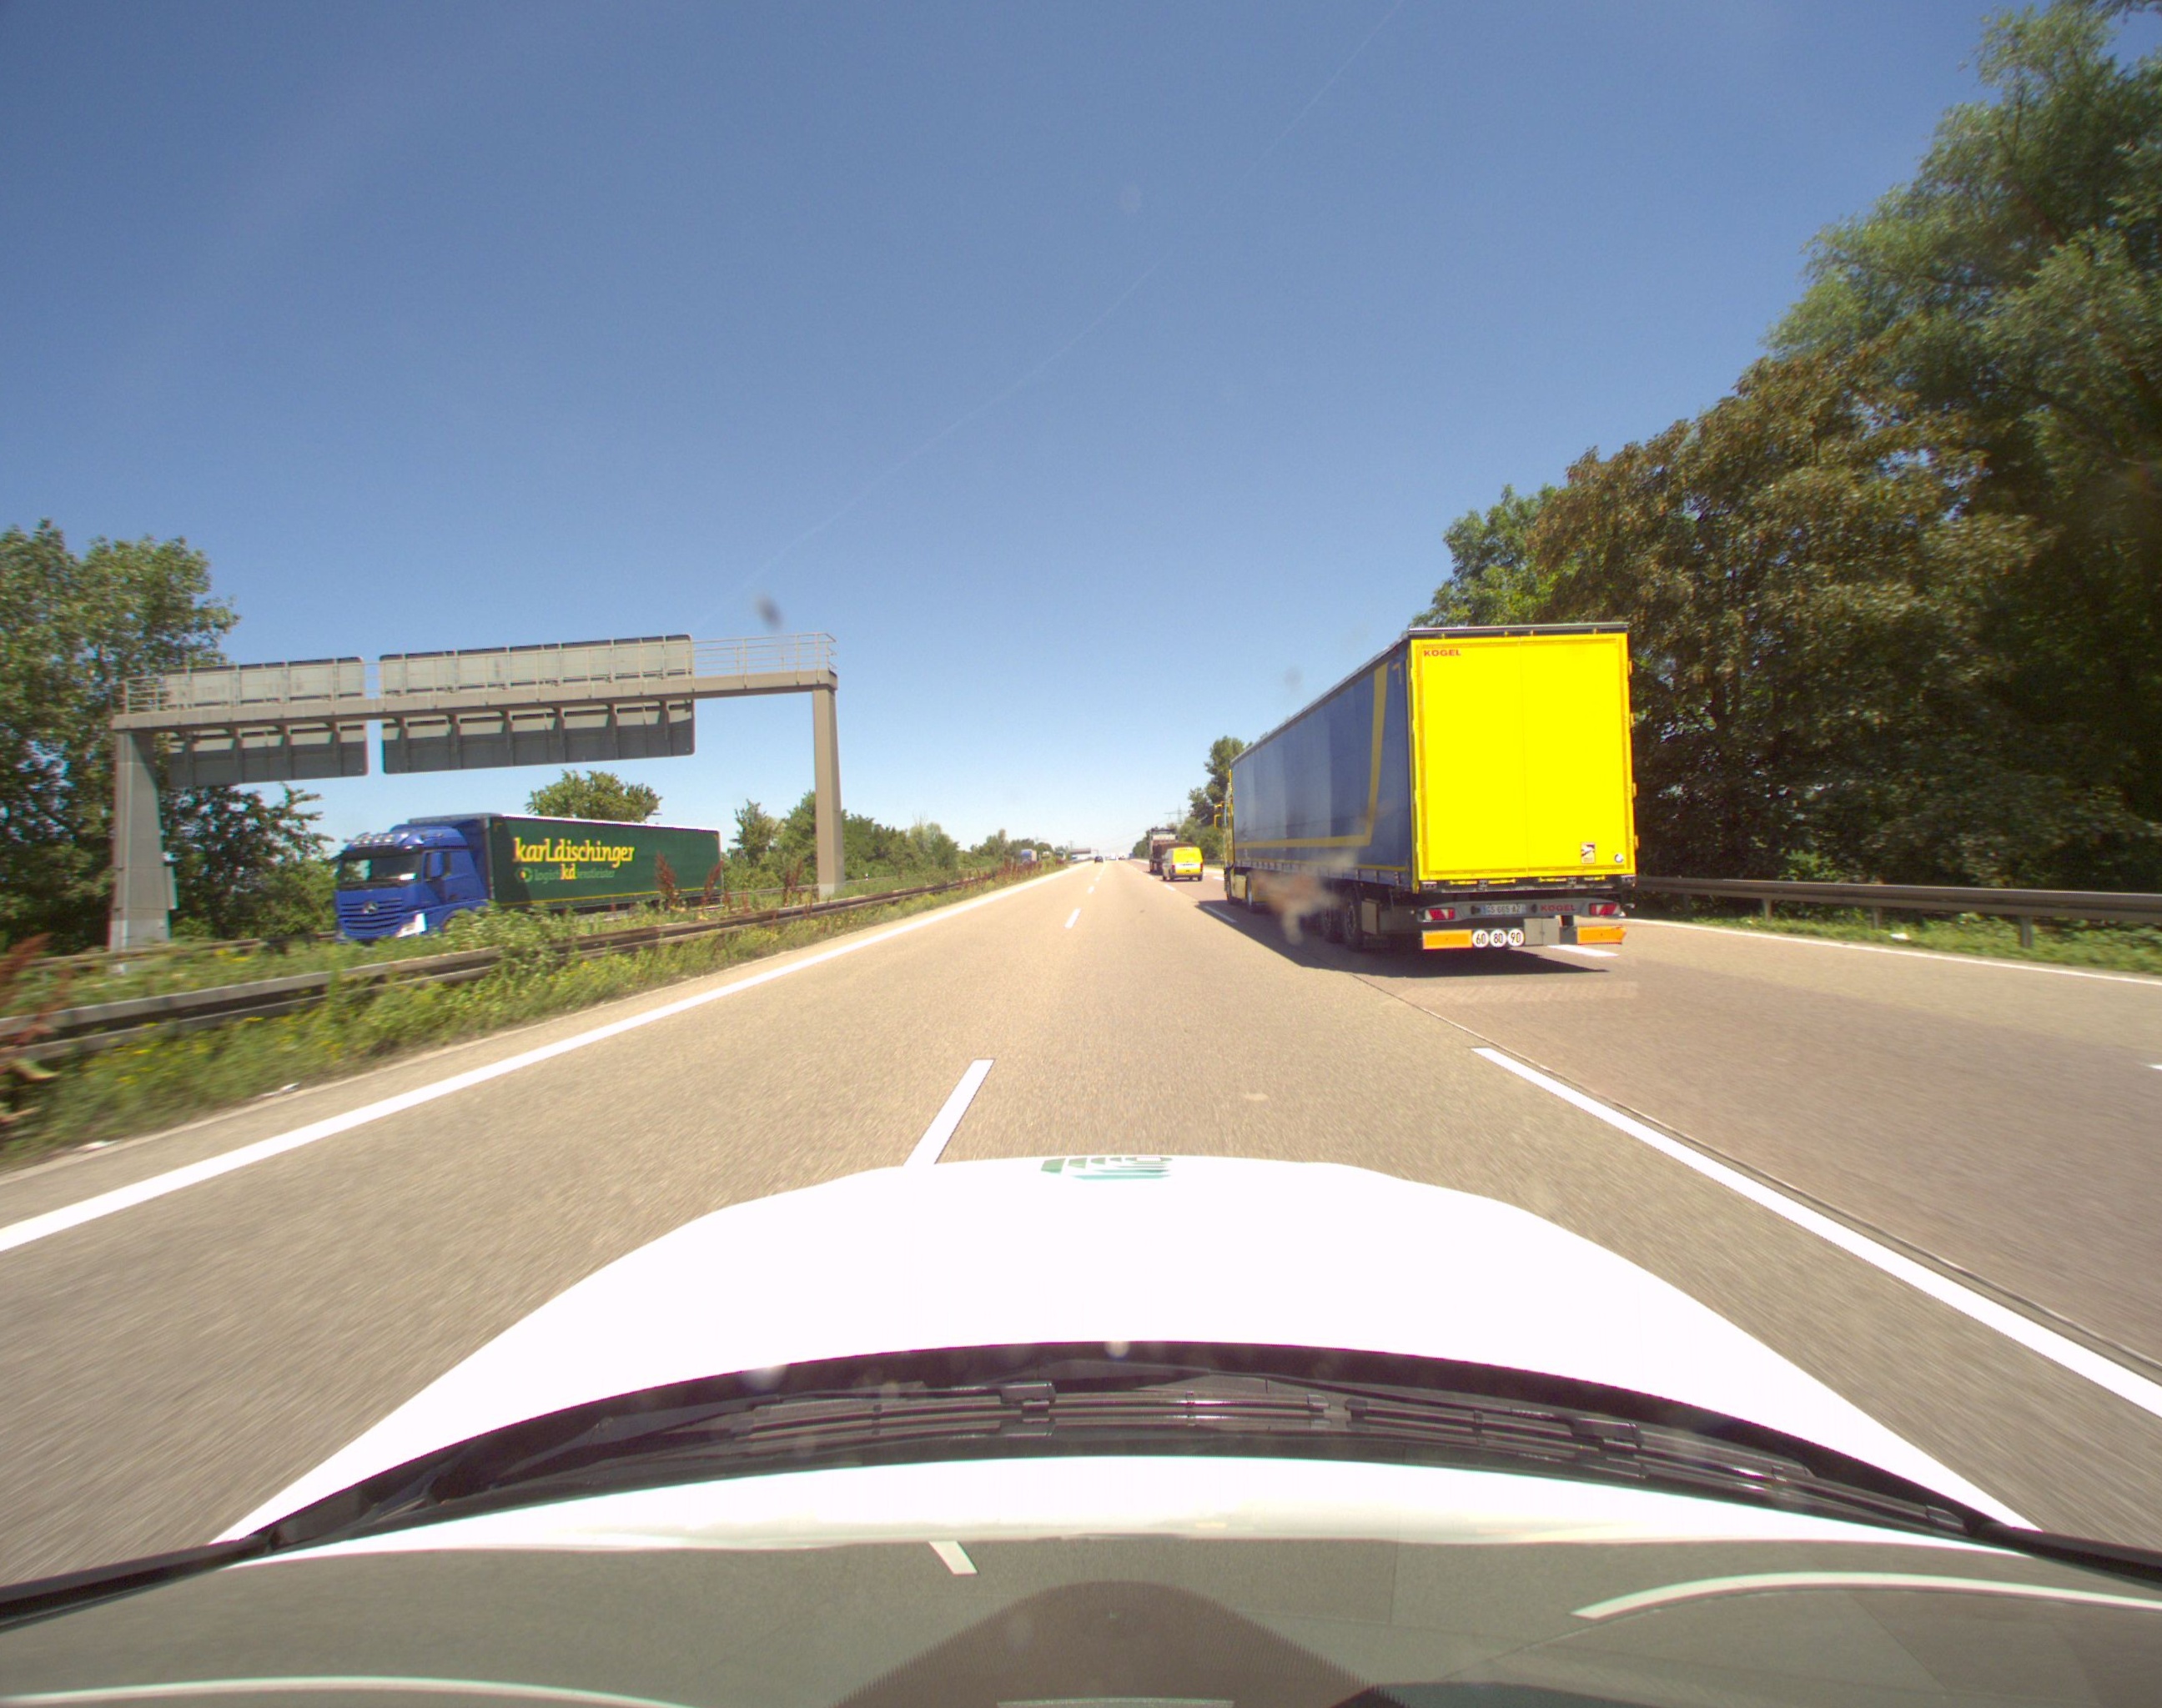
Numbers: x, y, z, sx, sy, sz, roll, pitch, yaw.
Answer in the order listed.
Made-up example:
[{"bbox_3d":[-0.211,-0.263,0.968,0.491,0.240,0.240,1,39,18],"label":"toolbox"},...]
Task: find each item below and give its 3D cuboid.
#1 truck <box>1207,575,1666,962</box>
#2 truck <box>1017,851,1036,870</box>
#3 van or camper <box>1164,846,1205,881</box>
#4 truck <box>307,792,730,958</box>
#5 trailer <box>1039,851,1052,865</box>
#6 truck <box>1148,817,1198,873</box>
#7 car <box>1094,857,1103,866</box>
[{"bbox_3d":[5.307,-0.865,17.623,2.835,4.257,16.795,-3,-1,1],"label":"truck"},{"bbox_3d":[-13.506,1.501,202.802,2.944,4.342,17.476,-3,0,2],"label":"truck"},{"bbox_3d":[6.067,0.531,48.195,1.985,1.909,4.974,-1,0,3],"label":"van or camper"},{"bbox_3d":[-19.273,0.626,31.330,2.944,4.342,18.248,-3,0,2],"label":"truck"},{"bbox_3d":[-10.911,1.146,253.652,2.910,3.967,11.655,-5,0,2],"label":"trailer"},{"bbox_3d":[7.347,-0.540,67.412,2.957,3.957,16.622,-1,-1,3],"label":"truck"},{"bbox_3d":[3.650,1.586,171.628,1.784,2.014,3.889,-1,-1,2],"label":"car"}]
